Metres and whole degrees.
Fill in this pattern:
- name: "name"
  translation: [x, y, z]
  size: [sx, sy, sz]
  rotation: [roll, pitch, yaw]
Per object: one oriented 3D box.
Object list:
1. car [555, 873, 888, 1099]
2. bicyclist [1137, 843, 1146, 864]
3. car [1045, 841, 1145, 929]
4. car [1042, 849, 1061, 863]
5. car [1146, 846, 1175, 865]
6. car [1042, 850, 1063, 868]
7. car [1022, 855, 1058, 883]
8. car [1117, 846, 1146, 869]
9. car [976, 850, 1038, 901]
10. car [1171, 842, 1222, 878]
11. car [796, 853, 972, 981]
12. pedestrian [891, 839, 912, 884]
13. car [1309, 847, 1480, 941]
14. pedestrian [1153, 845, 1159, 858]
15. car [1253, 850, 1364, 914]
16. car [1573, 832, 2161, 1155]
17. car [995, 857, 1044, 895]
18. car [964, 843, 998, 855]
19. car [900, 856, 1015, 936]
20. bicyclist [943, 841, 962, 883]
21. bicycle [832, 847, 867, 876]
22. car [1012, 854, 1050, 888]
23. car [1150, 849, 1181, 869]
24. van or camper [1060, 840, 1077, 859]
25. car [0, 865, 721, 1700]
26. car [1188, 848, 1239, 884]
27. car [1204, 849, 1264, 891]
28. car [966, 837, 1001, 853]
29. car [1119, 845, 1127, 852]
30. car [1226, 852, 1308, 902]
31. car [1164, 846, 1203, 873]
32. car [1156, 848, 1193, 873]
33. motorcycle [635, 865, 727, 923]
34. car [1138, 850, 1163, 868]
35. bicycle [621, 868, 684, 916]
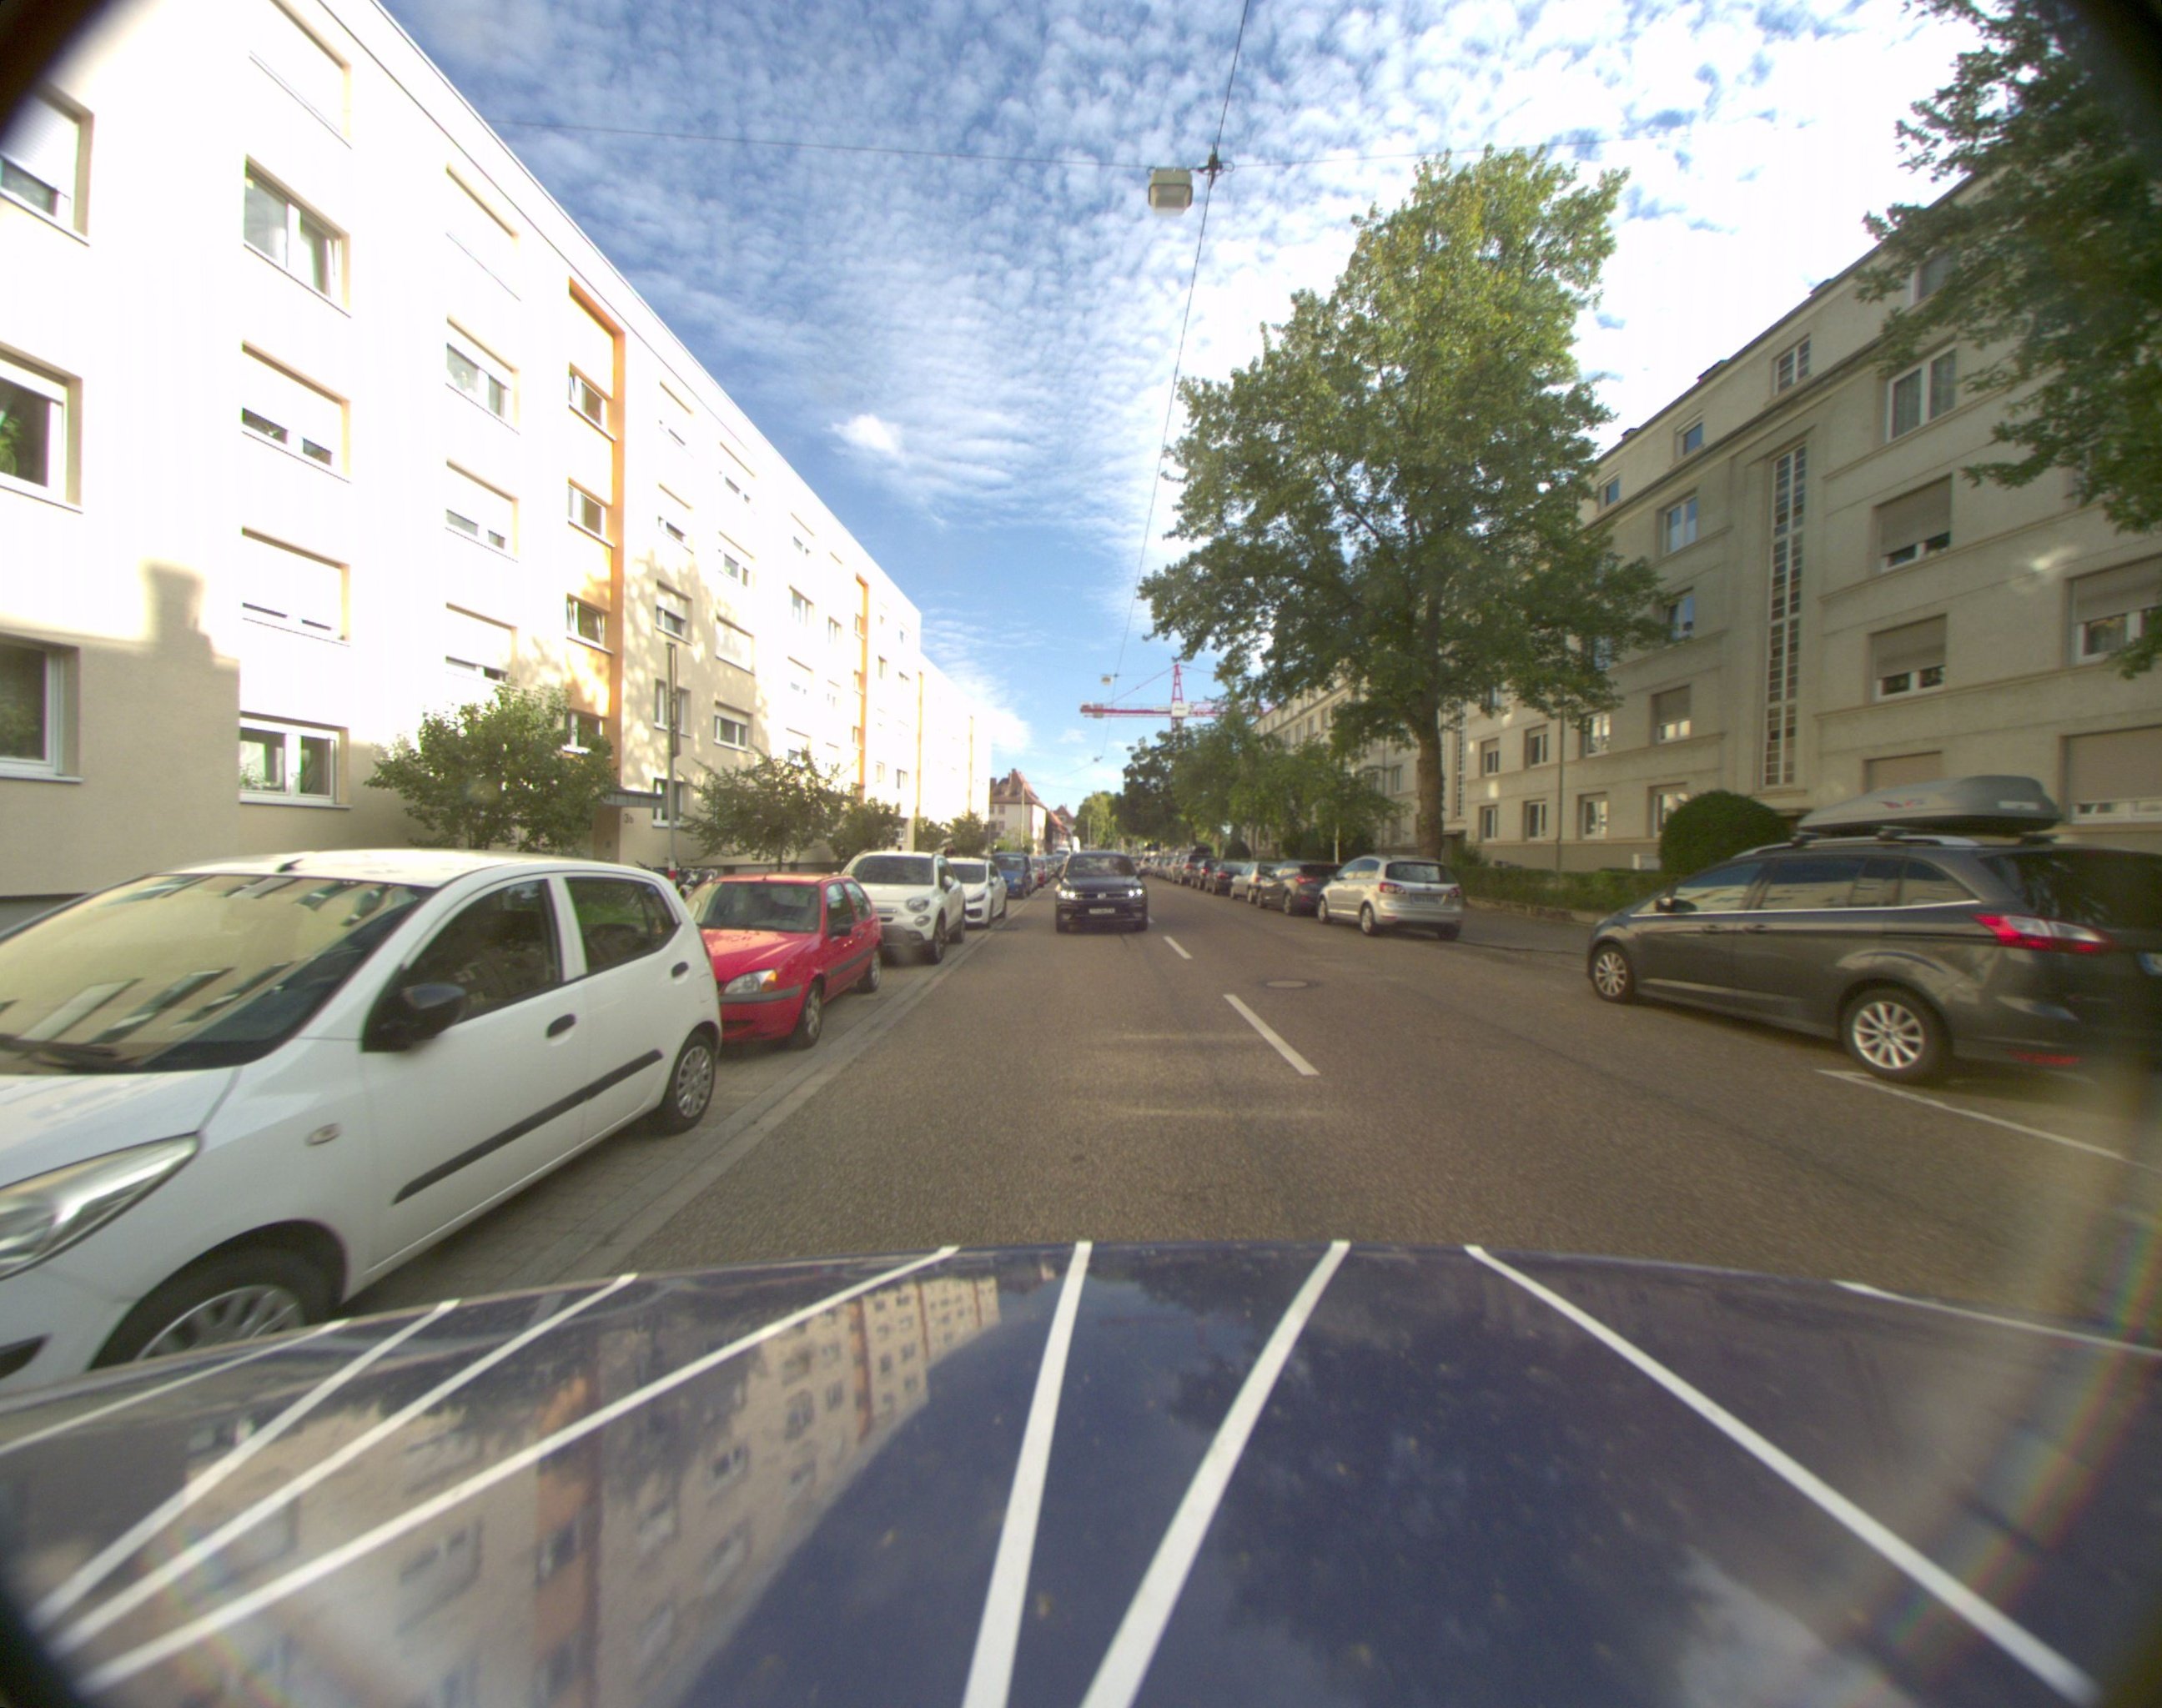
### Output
- name: "car"
  translation: [-2.939, 0.965, 7.075]
  size: [1.519, 1.390, 3.674]
  rotation: [2, 1, -4]
- name: "bicyclist"
  translation: [4.807, -0.043, 60.541]
  size: [0.643, 1.591, 0.990]
  rotation: [0, 1, 1]
- name: "car"
  translation: [0.436, 0.573, 16.462]
  size: [1.859, 1.673, 4.001]
  rotation: [0, 0, 5]
- name: "car"
  translation: [-3.344, 0.194, 87.621]
  size: [1.767, 1.515, 4.330]
  rotation: [3, 1, 2]
- name: "car"
  translation: [6.769, 0.111, 64.912]
  size: [1.860, 1.477, 4.682]
  rotation: [2, 0, -1]
- name: "car"
  translation: [-2.419, 0.406, 66.032]
  size: [1.688, 1.492, 3.873]
  rotation: [2, 1, -1]
- name: "car"
  translation: [-2.313, 0.838, 43.740]
  size: [1.666, 1.408, 4.058]
  rotation: [2, 1, 1]
- name: "car"
  translation: [3.496, 0.233, 53.437]
  size: [1.863, 1.520, 4.010]
  rotation: [1, 0, 1]
- name: "car"
  translation: [-2.671, 0.728, 28.243]
  size: [1.732, 1.640, 4.116]
  rotation: [2, 1, 2]
- name: "car"
  translation: [6.261, 0.284, 41.639]
  size: [1.882, 1.782, 4.969]
  rotation: [3, 0, -1]
- name: "car"
  translation: [-2.853, 0.821, 11.918]
  size: [1.733, 1.571, 4.116]
  rotation: [2, 1, -1]
- name: "pedestrian"
  translation: [-6.960, 0.274, 29.517]
  size: [0.543, 1.711, 0.771]
  rotation: [0, 1, 6]
- name: "car"
  translation: [6.283, 0.718, 15.768]
  size: [1.743, 1.611, 3.993]
  rotation: [3, 0, -1]
- name: "pedestrian"
  translation: [10.611, -0.372, 107.931]
  size: [0.743, 1.758, 0.775]
  rotation: [-1, 1, -1]
- name: "car"
  translation: [6.058, 0.682, 20.695]
  size: [1.618, 1.460, 4.012]
  rotation: [3, 0, -2]
- name: "car"
  translation: [6.335, 0.752, 6.142]
  size: [1.803, 1.658, 4.482]
  rotation: [3, 0, 1]
- name: "car"
  translation: [-2.596, 0.907, 32.913]
  size: [1.733, 1.452, 4.116]
  rotation: [2, 1, 0]
- name: "car"
  translation: [-13.219, -0.687, 100.442]
  size: [4.084, 1.473, 1.872]
  rotation: [1, 1, 9]
- name: "car"
  translation: [-2.686, 0.849, 17.556]
  size: [1.732, 1.479, 4.641]
  rotation: [2, 1, 2]
- name: "bicyclist"
  translation: [-5.150, 0.306, 30.543]
  size: [0.625, 1.668, 0.893]
  rotation: [1, 1, 0]
- name: "bicycle"
  translation: [-10.433, 0.319, 34.387]
  size: [0.728, 1.283, 2.635]
  rotation: [0, 1, 1]
- name: "car"
  translation: [-2.481, 0.817, 38.305]
  size: [1.733, 1.506, 4.189]
  rotation: [2, 1, -3]
- name: "car"
  translation: [6.376, 0.342, 58.097]
  size: [1.742, 1.385, 4.665]
  rotation: [3, 0, 0]
- name: "van or camper"
  translation: [-1.705, -0.625, 106.066]
  size: [2.165, 2.512, 5.913]
  rotation: [3, 1, 0]
- name: "car"
  translation: [-2.913, 0.881, 2.730]
  size: [1.555, 1.548, 3.467]
  rotation: [2, 0, 0]
- name: "car"
  translation: [6.271, 0.536, 36.318]
  size: [1.689, 1.472, 4.119]
  rotation: [4, 1, 1]
- name: "car"
  translation: [6.178, 0.588, 31.058]
  size: [1.689, 1.472, 4.452]
  rotation: [4, 1, 3]
- name: "car"
  translation: [-13.267, -1.247, 103.258]
  size: [4.276, 2.179, 2.368]
  rotation: [1, 1, 8]
- name: "car"
  translation: [10.619, -1.373, 193.023]
  size: [1.834, 1.659, 4.084]
  rotation: [-2, 1, 1]
- name: "car"
  translation: [6.148, 0.698, 25.514]
  size: [1.604, 1.410, 3.963]
  rotation: [4, 1, -1]
- name: "car"
  translation: [6.375, 0.321, 47.494]
  size: [1.860, 1.564, 4.459]
  rotation: [2, 1, 1]
- name: "car"
  translation: [6.403, 0.412, 52.566]
  size: [1.860, 1.477, 4.943]
  rotation: [4, 1, 0]
- name: "motorcycle"
  translation: [-8.190, 0.775, 15.696]
  size: [0.632, 1.038, 2.393]
  rotation: [2, 0, -1]
- name: "car"
  translation: [6.590, 0.475, 72.075]
  size: [1.860, 1.477, 4.798]
  rotation: [4, 1, 0]
- name: "bicycle"
  translation: [-9.103, 0.783, 16.198]
  size: [0.460, 0.936, 1.516]
  rotation: [2, 1, -1]
